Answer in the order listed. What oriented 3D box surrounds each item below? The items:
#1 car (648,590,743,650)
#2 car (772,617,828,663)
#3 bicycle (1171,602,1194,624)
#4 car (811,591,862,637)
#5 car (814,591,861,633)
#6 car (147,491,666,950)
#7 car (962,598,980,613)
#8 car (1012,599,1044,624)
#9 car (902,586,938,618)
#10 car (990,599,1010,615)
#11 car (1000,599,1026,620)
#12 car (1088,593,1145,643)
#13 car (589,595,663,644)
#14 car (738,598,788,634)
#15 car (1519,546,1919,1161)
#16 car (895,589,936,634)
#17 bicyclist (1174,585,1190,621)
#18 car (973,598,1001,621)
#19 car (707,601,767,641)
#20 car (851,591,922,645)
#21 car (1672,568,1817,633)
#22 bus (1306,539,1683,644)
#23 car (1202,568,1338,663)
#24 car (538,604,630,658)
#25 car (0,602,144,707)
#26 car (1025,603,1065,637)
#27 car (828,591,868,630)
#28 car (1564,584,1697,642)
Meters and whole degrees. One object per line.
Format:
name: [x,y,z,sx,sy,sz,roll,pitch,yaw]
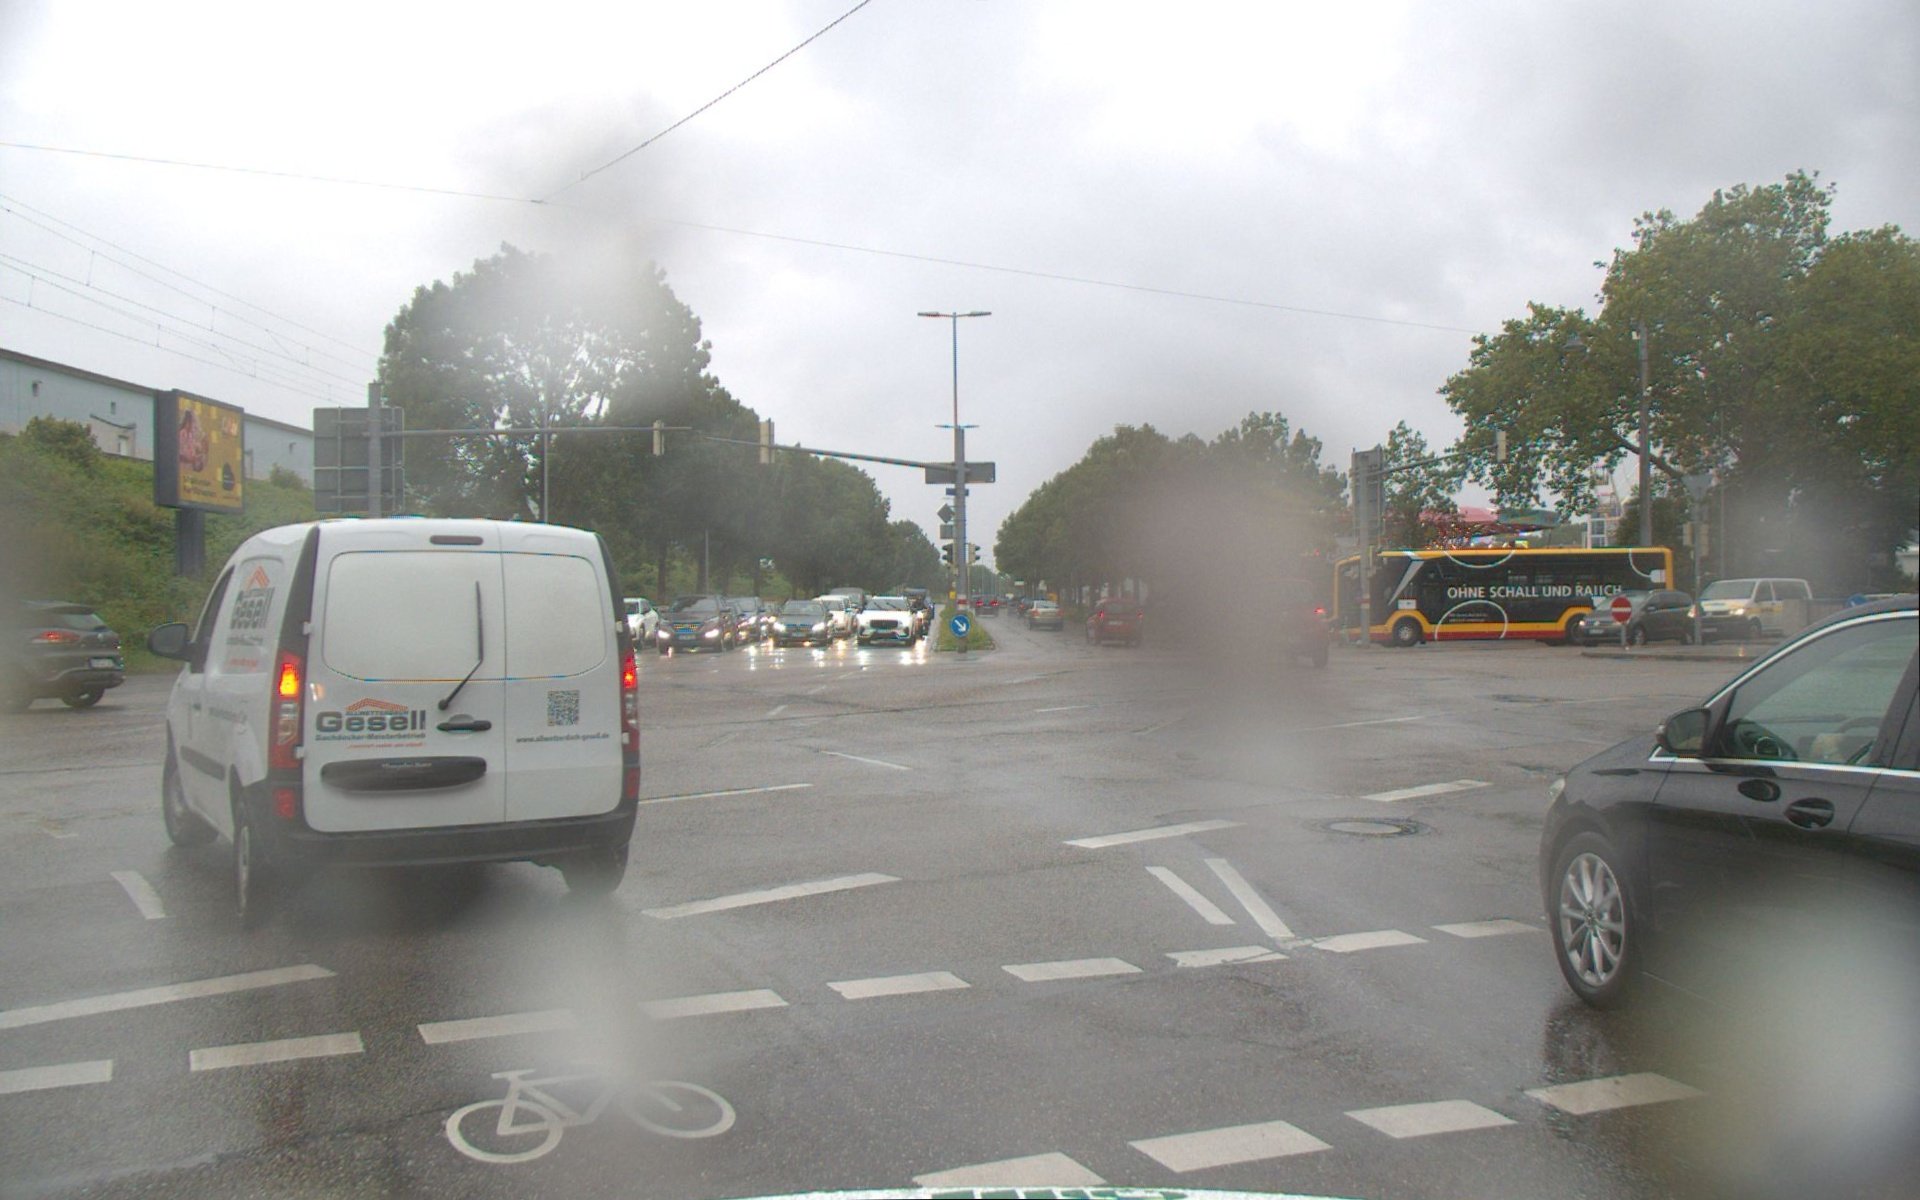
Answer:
car: [-7.829,0.562,49.387,1.980,1.686,4.063,-1,0,3]
car: [-5.358,1.293,55.216,1.792,1.382,3.995,-1,0,-6]
bicycle: [12.088,0.689,89.839,0.803,1.185,2.258,-1,0,-4]
car: [-4.925,0.526,66.244,1.827,1.750,3.999,-1,0,-2]
car: [-5.338,0.484,72.553,1.807,1.750,4.000,-1,0,-1]
car: [-3.099,0.456,8.678,1.738,1.808,3.958,1,0,-31]
car: [1.211,0.617,183.238,1.956,1.646,3.999,-1,0,-1]
car: [4.749,0.783,115.659,1.956,1.646,3.999,-1,0,-1]
car: [-2.273,0.119,93.445,1.900,1.750,3.997,-1,0,-3]
car: [4.206,0.697,175.951,1.956,1.646,3.999,-1,0,-1]
car: [4.270,0.734,133.757,1.956,1.646,3.999,-1,0,-1]
car: [5.456,0.607,57.947,1.599,1.684,3.484,1,0,-1]
car: [-10.818,0.606,53.771,1.791,1.508,3.997,-1,0,-3]
car: [-8.171,0.639,68.728,1.791,1.382,3.997,-1,0,-3]
car: [3.299,0.625,4.659,1.833,1.550,4.084,-1,0,-4]
car: [-1.867,0.447,68.490,1.568,1.750,3.997,-1,0,-3]
bicyclist: [12.075,0.155,89.890,0.752,1.914,0.621,-1,0,-3]
car: [2.014,0.720,125.246,1.956,1.646,3.999,-1,0,-1]
car: [-8.213,0.762,61.136,1.790,1.382,3.998,-1,0,-2]
car: [-2.504,0.581,57.084,2.124,1.750,4.304,-1,0,1]
car: [23.719,-0.008,49.977,4.696,1.881,2.050,-1,0,-37]
bus: [18.335,-0.298,57.255,12.002,3.325,3.274,-1,0,-2]
car: [5.288,0.248,28.627,1.644,1.517,3.621,1,0,-1]
car: [-10.724,0.859,47.442,1.854,1.373,3.998,-1,1,-3]
car: [-12.827,0.702,21.908,3.179,1.306,1.687,-1,0,4]
car: [4.266,0.978,83.570,1.805,1.646,4.000,1,0,1]
car: [-5.230,0.478,77.428,1.620,1.750,3.999,-1,0,-1]
car: [20.755,0.374,51.137,4.297,1.680,1.908,-1,0,-38]
